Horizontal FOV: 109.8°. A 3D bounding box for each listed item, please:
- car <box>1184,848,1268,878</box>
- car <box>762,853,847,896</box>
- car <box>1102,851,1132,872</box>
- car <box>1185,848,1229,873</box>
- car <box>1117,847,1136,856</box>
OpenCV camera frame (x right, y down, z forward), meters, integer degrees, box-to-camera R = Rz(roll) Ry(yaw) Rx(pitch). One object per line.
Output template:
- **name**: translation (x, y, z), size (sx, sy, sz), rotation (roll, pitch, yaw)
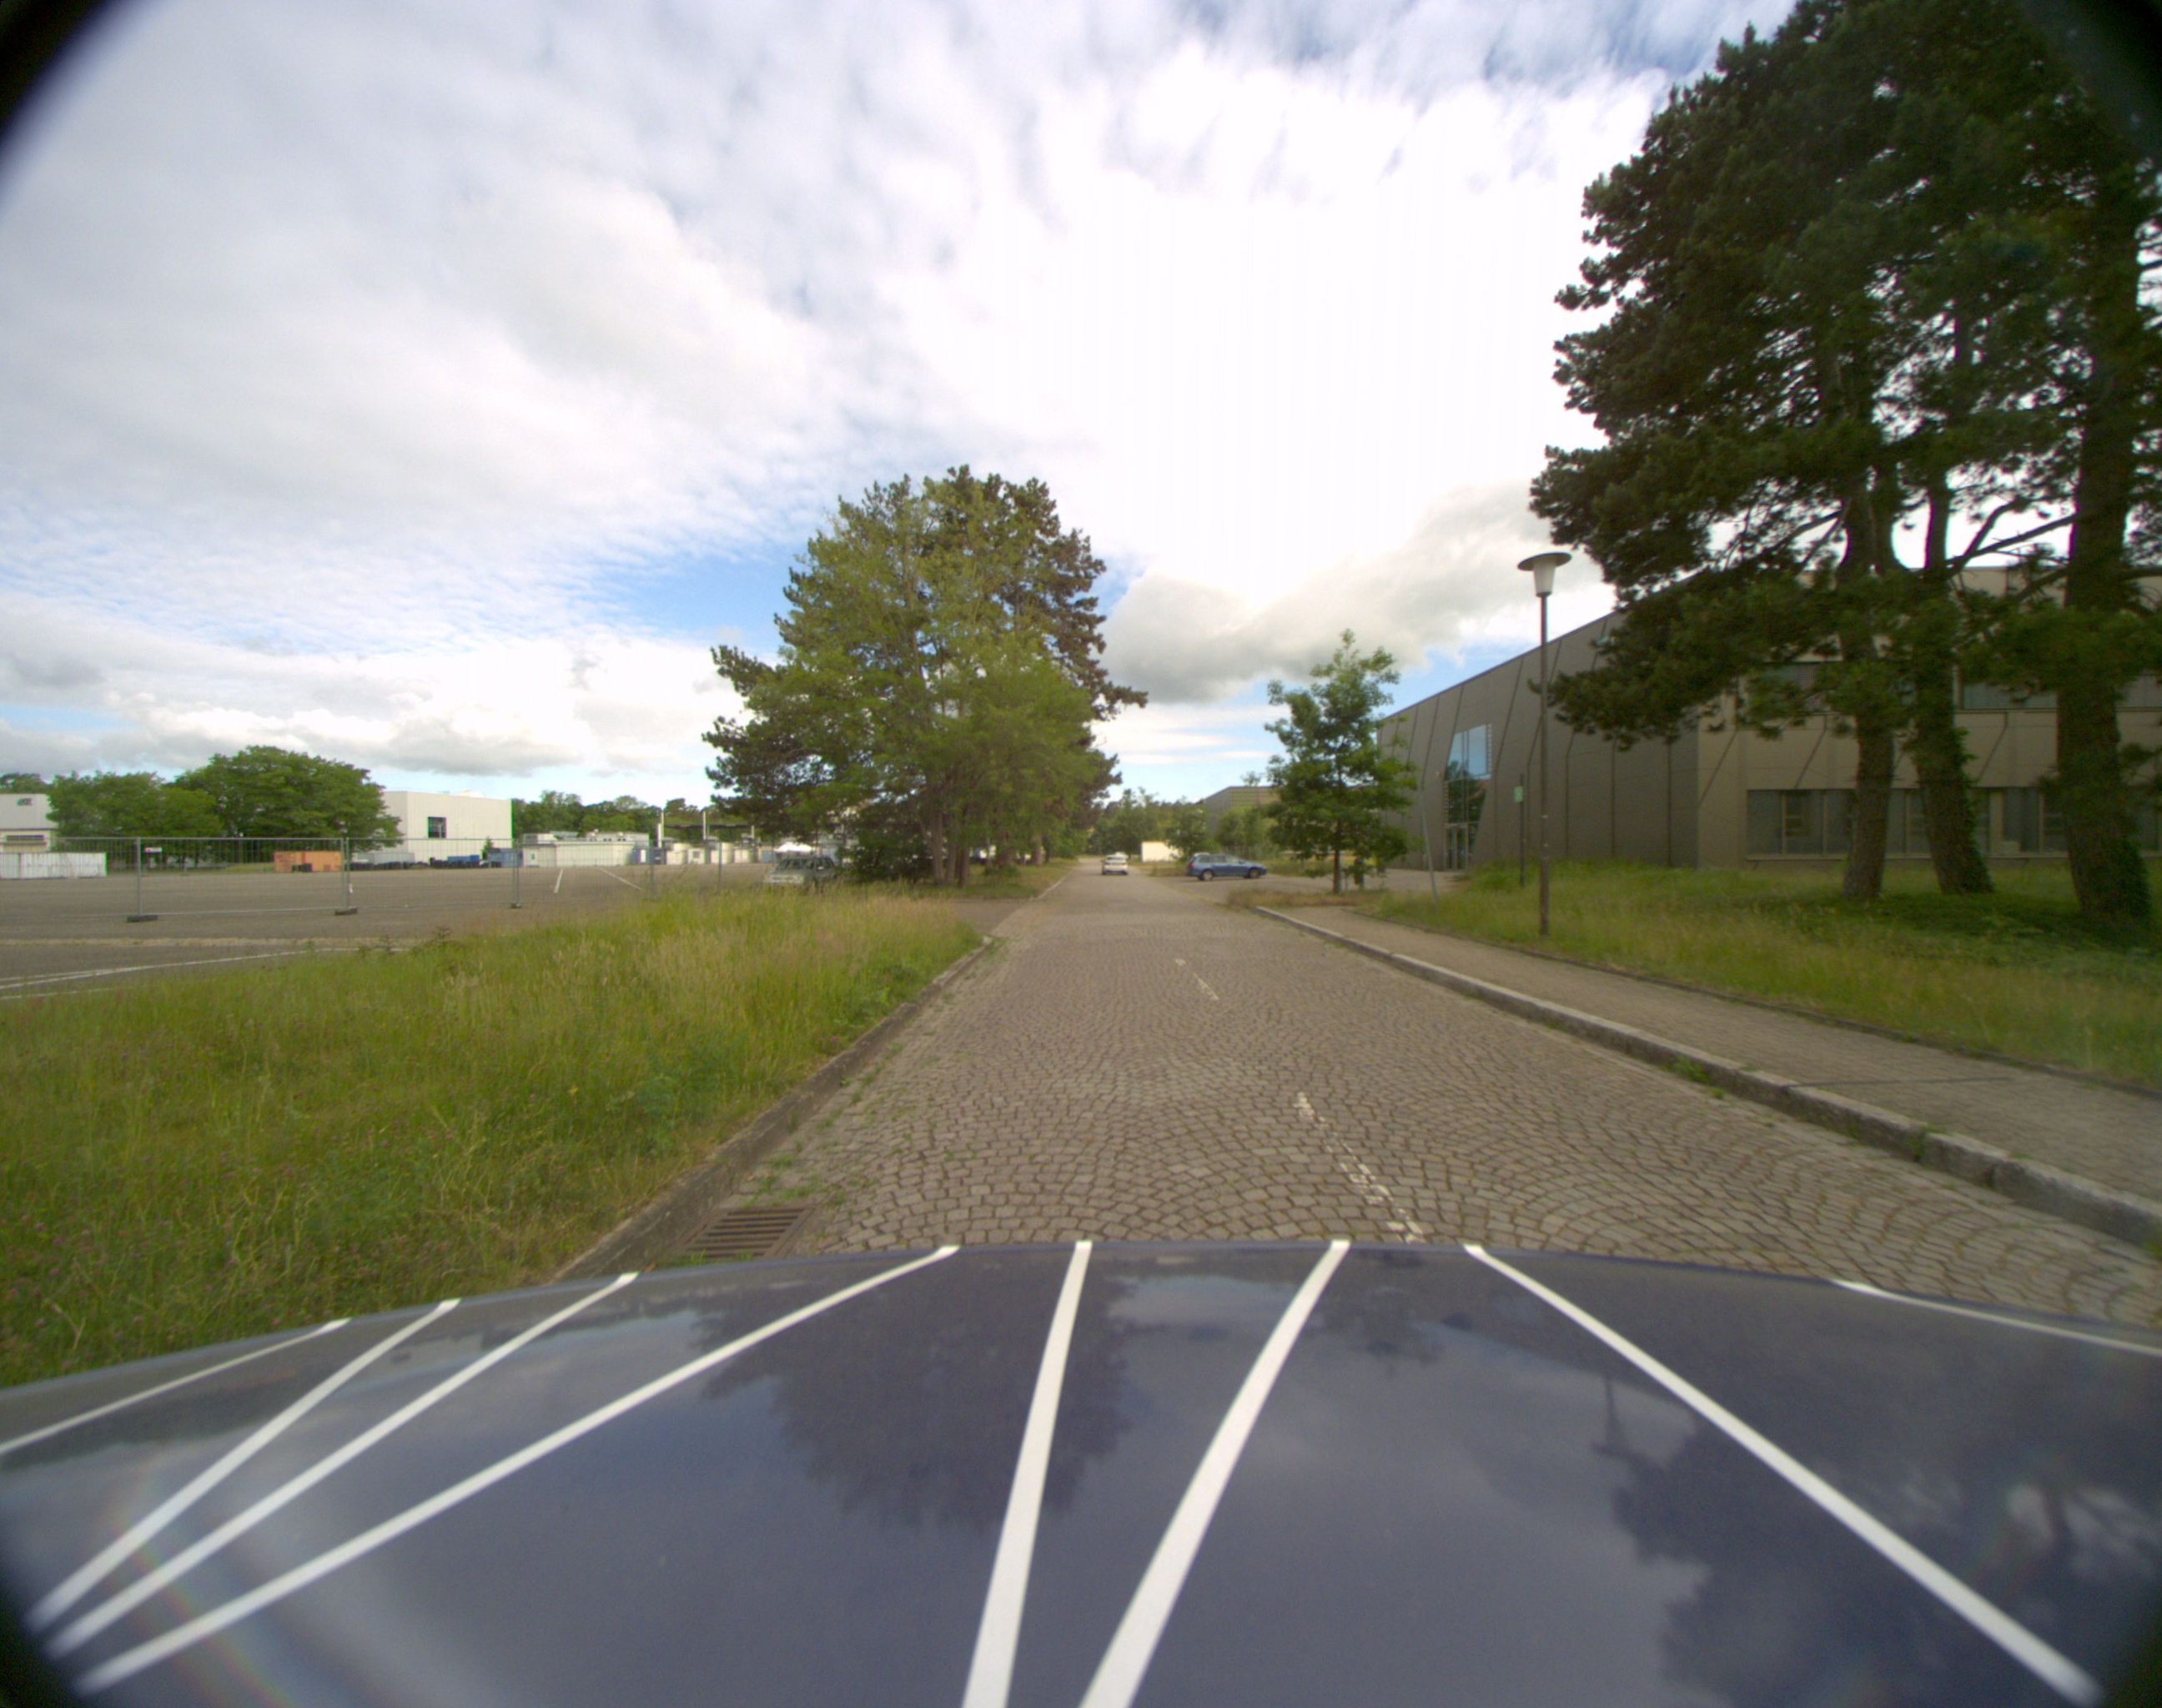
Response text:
- **car**: translation (8.227, 0.509, 43.295), size (4.426, 1.461, 1.633), rotation (-3, 1, -1)
- **car**: translation (-10.495, 0.717, 29.162), size (1.678, 1.442, 4.488), rotation (-1, 1, -1)
- **car**: translation (2.565, 0.509, 55.391), size (1.778, 1.430, 4.217), rotation (2, 1, -2)
- **car**: translation (8.374, 0.433, 50.663), size (2.584, 1.521, 1.500), rotation (-3, 1, -1)
- **car**: translation (9.708, -0.490, 163.087), size (4.062, 1.768, 1.792), rotation (-1, 1, 1)
